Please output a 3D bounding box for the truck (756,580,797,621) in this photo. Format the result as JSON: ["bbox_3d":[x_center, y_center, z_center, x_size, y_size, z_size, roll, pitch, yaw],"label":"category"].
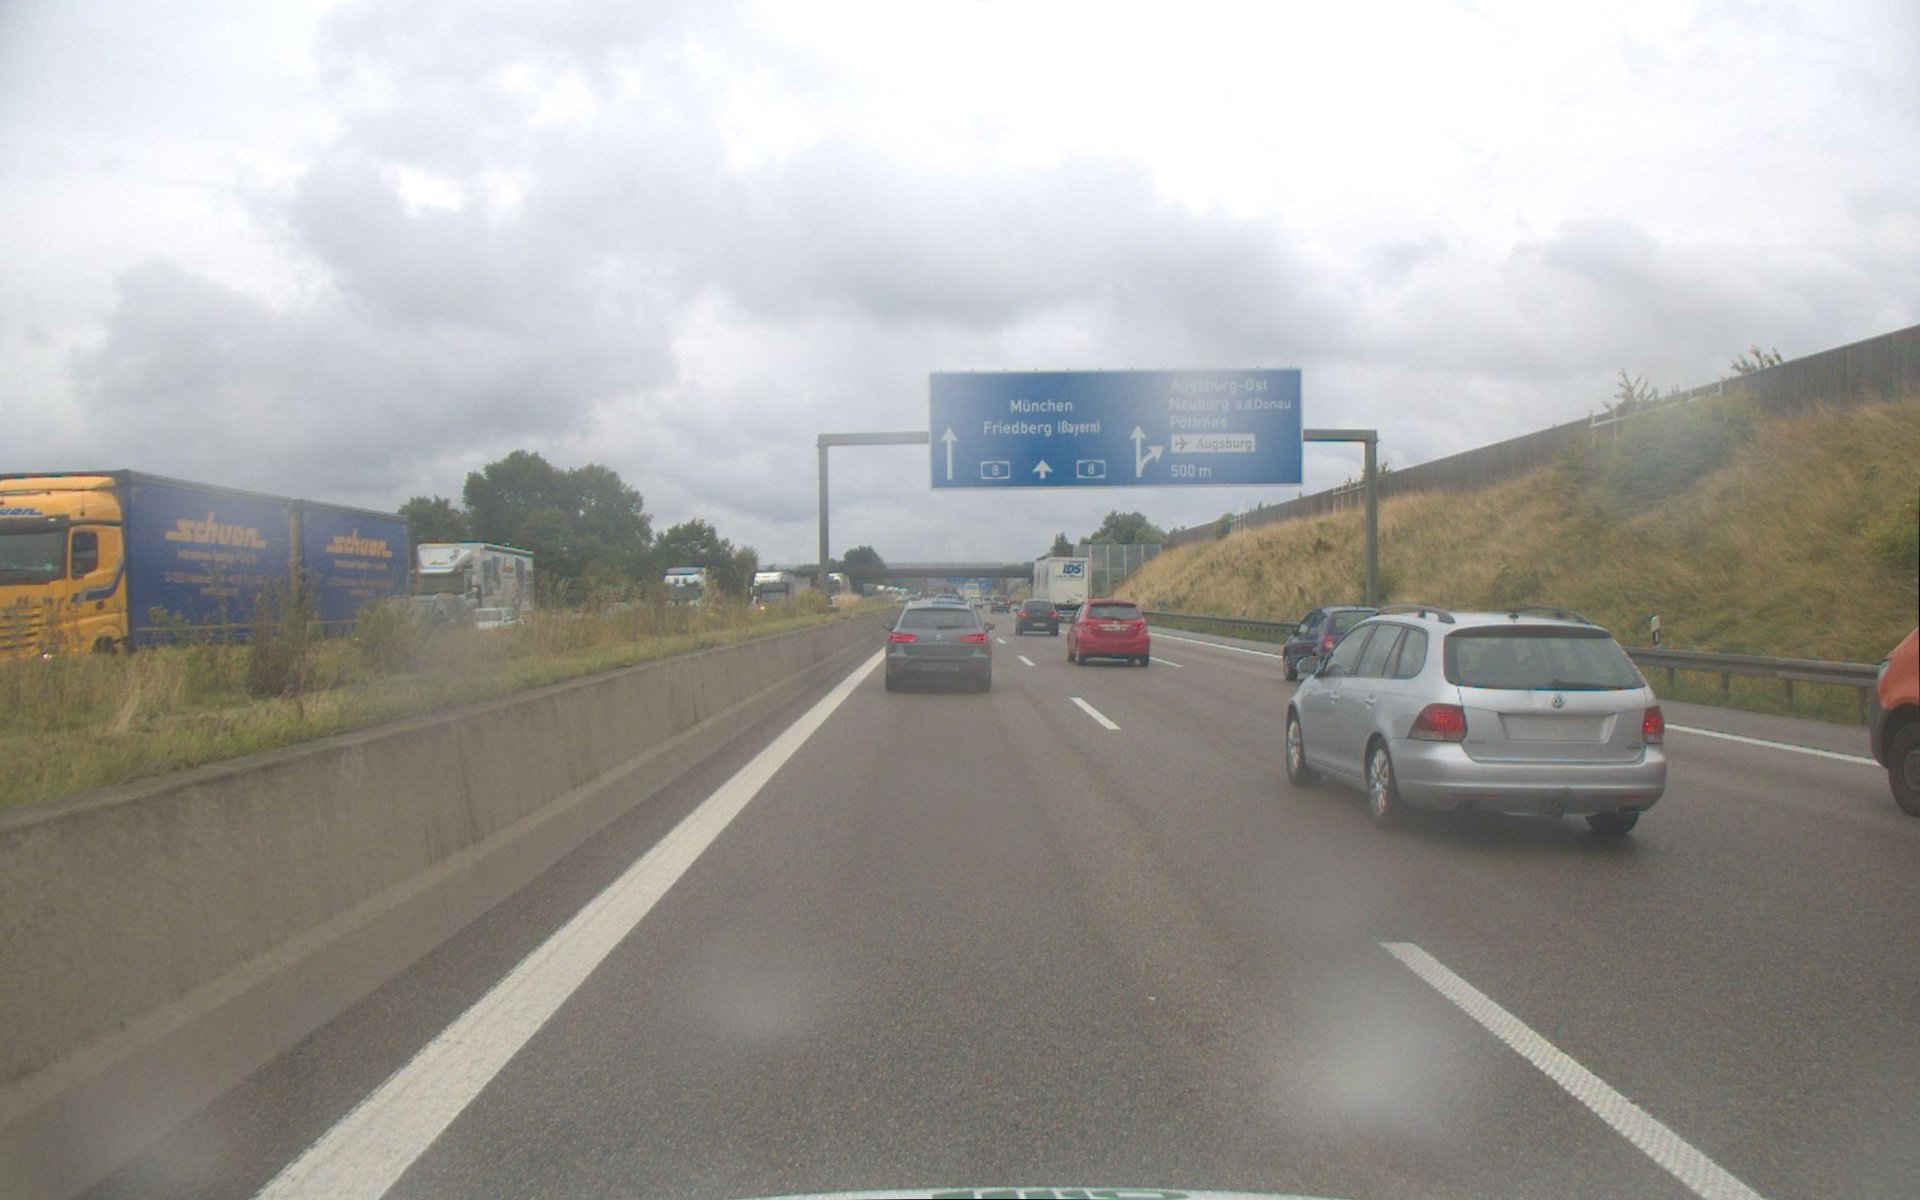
[{"bbox_3d":[-13.832,0.043,125.193,2.264,2.959,7.423,1,0,0],"label":"truck"}]

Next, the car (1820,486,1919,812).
[{"bbox_3d":[8.009,0.362,10.195,2.044,2.355,6.179,0,0,-2],"label":"car"}]

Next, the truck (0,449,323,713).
[{"bbox_3d":[-16.667,-0.310,33.410,3.343,4.440,10.989,1,0,-1],"label":"truck"}]

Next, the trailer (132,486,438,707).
[{"bbox_3d":[-16.842,-0.091,42.625,3.319,4.852,11.677,1,0,-2],"label":"trailer"}]

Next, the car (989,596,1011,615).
[{"bbox_3d":[3.683,0.521,153.118,1.808,1.716,3.999,1,0,-1],"label":"car"}]

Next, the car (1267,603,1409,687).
[{"bbox_3d":[6.911,0.788,30.591,1.668,1.426,3.874,1,0,-1],"label":"car"}]

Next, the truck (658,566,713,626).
[{"bbox_3d":[-17.956,-0.315,108.315,2.587,3.790,5.871,1,1,0],"label":"truck"}]

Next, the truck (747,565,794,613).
[{"bbox_3d":[-17.670,-0.968,154.712,3.541,4.349,7.590,1,0,0],"label":"truck"}]

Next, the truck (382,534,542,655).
[{"bbox_3d":[-20.595,-0.176,69.306,3.441,4.562,11.782,1,0,-2],"label":"truck"}]

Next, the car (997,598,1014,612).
[{"bbox_3d":[6.238,0.644,226.170,1.954,1.892,4.388,0,0,-3],"label":"car"}]

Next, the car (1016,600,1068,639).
[{"bbox_3d":[3.382,0.799,68.889,1.882,1.548,4.621,0,0,-1],"label":"car"}]

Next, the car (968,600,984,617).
[{"bbox_3d":[1.979,1.063,211.345,1.953,2.049,4.241,1,0,0],"label":"car"}]

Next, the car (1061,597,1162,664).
[{"bbox_3d":[3.530,0.685,39.265,1.853,1.472,4.683,0,0,-1],"label":"car"}]

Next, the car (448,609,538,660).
[{"bbox_3d":[-16.424,1.189,58.390,1.844,1.644,5.013,-1,0,-1],"label":"car"}]

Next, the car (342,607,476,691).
[{"bbox_3d":[-12.910,1.106,39.013,1.828,1.815,4.000,-1,0,0],"label":"car"}]

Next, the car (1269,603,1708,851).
[{"bbox_3d":[3.596,0.765,12.187,1.706,1.450,4.516,-1,0,-1],"label":"car"}]

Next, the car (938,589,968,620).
[{"bbox_3d":[-0.441,0.244,102.410,1.670,1.828,3.853,-2,0,-2],"label":"car"}]

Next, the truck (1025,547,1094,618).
[{"bbox_3d":[6.523,-1.047,111.990,3.216,4.370,19.029,1,0,-1],"label":"truck"}]

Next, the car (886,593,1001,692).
[{"bbox_3d":[-0.319,0.660,27.369,1.733,1.493,3.998,1,0,-2],"label":"car"}]
